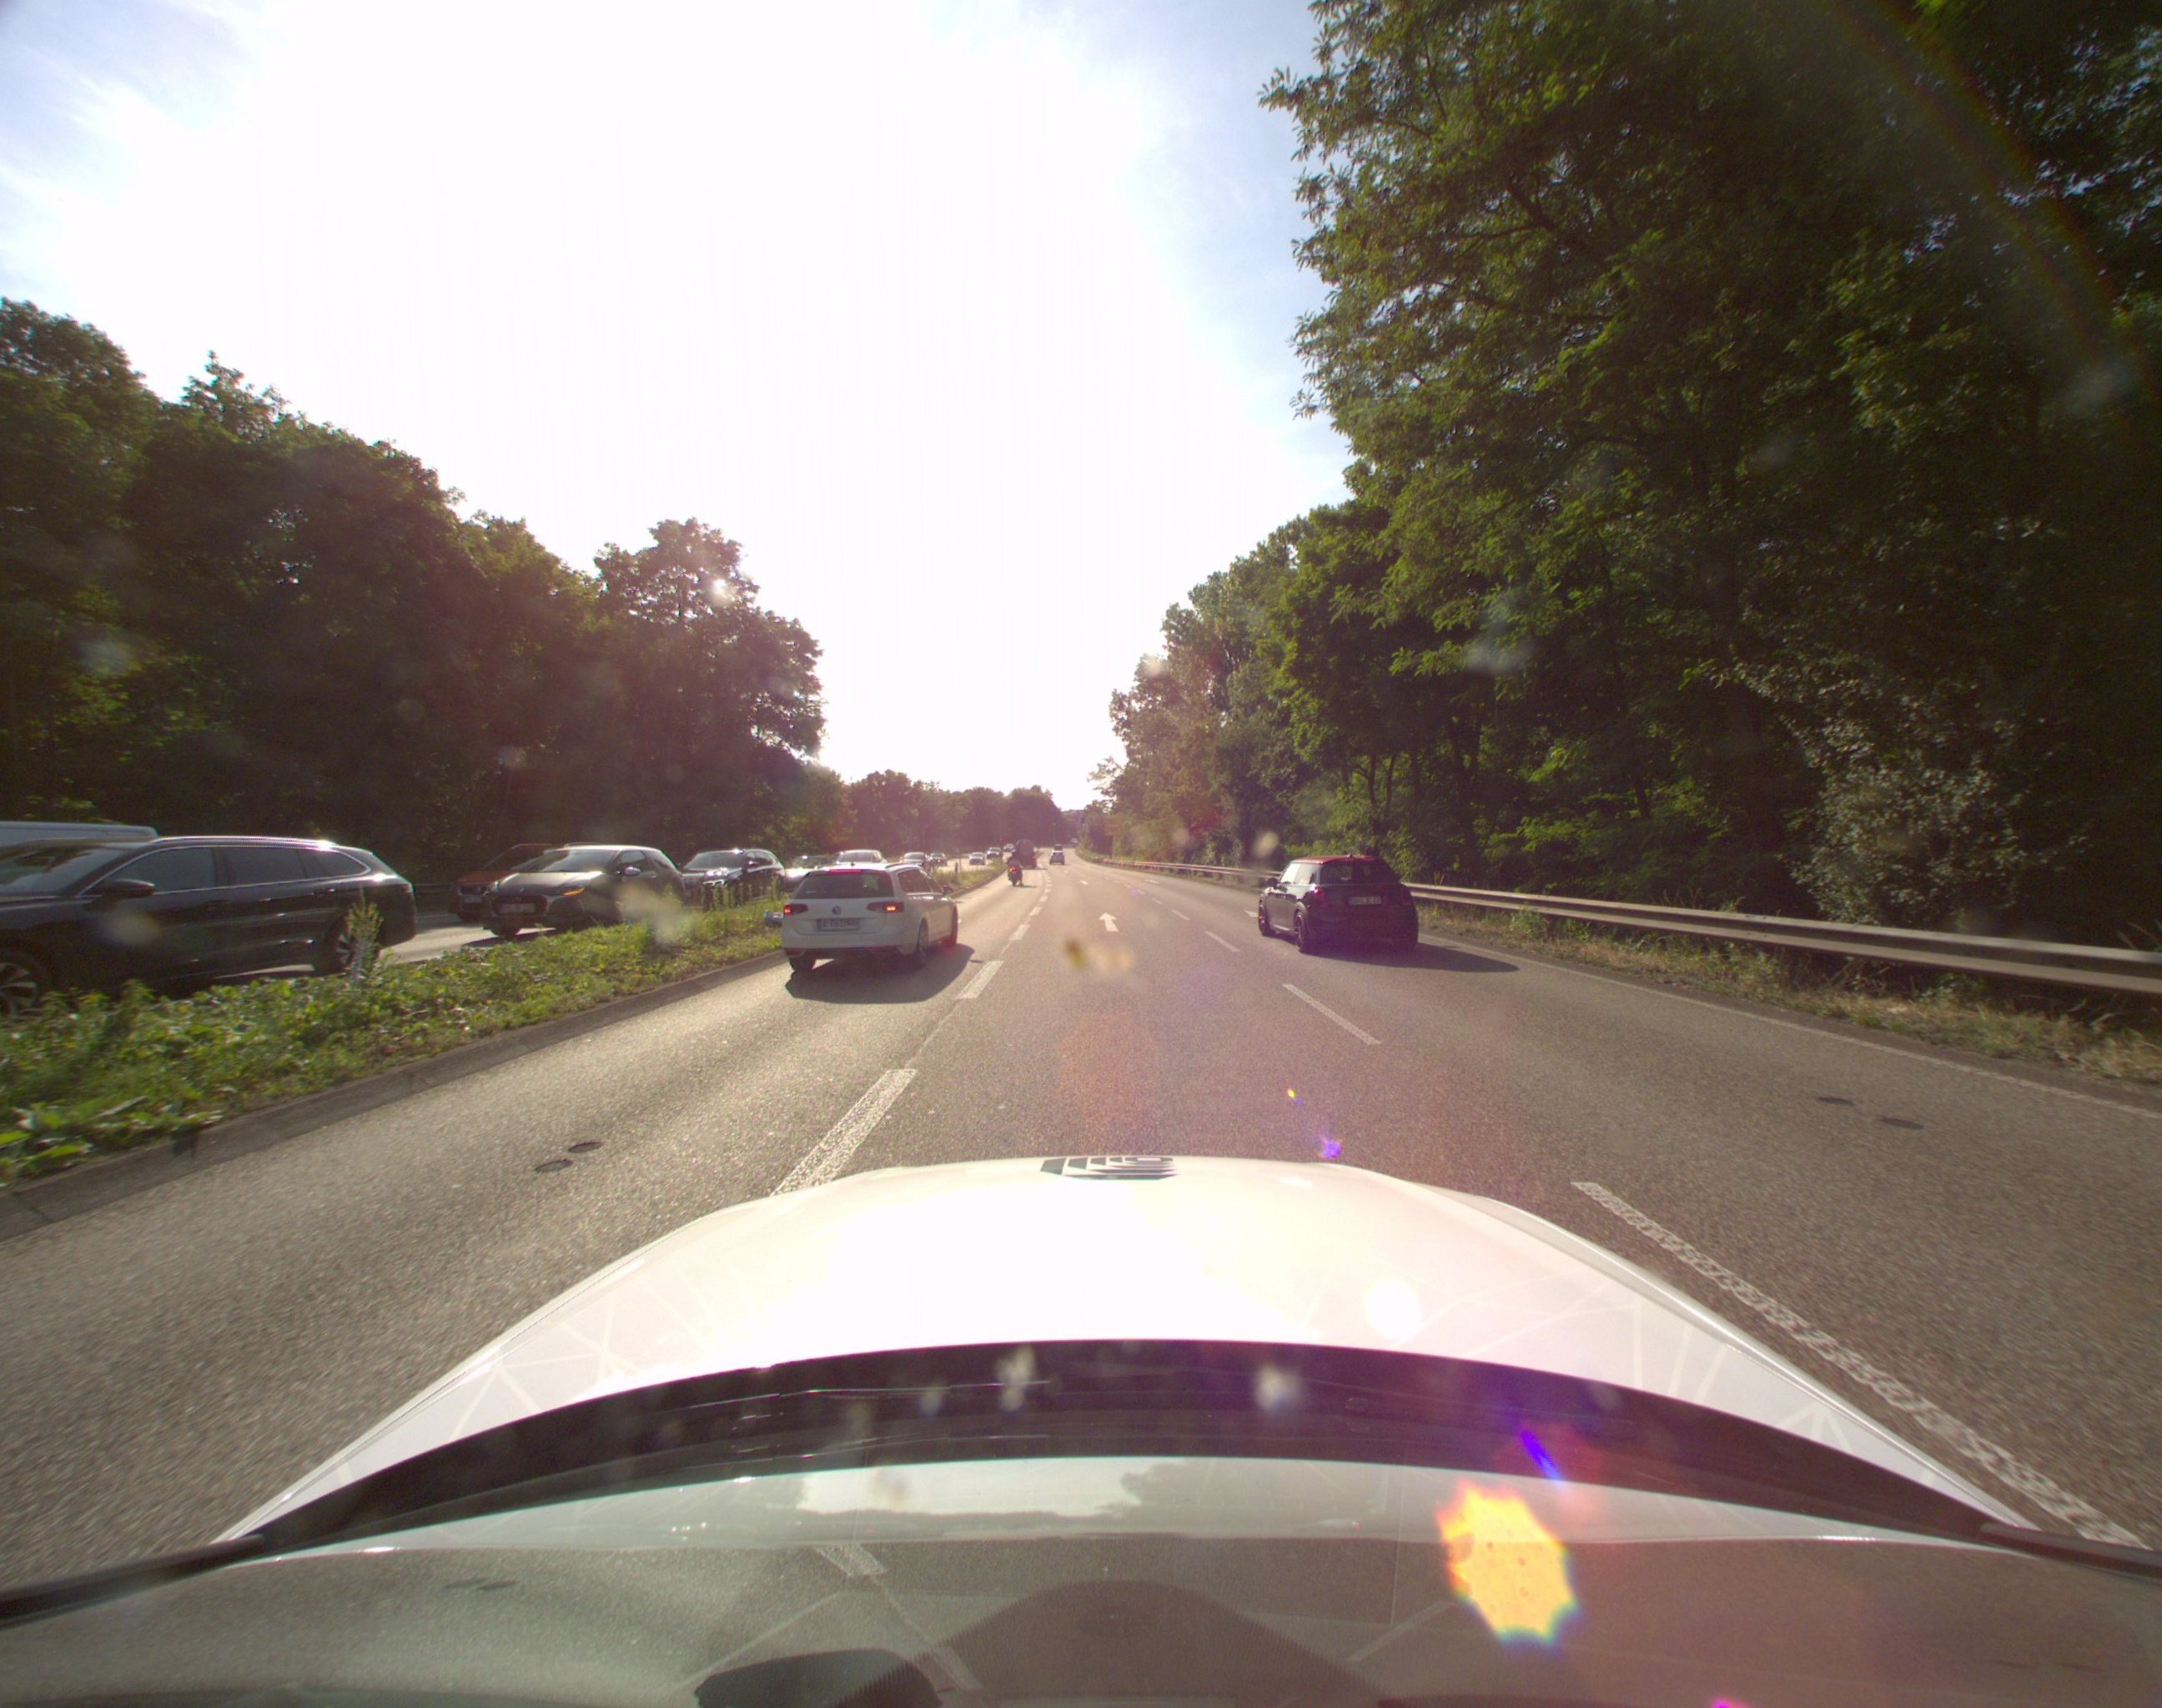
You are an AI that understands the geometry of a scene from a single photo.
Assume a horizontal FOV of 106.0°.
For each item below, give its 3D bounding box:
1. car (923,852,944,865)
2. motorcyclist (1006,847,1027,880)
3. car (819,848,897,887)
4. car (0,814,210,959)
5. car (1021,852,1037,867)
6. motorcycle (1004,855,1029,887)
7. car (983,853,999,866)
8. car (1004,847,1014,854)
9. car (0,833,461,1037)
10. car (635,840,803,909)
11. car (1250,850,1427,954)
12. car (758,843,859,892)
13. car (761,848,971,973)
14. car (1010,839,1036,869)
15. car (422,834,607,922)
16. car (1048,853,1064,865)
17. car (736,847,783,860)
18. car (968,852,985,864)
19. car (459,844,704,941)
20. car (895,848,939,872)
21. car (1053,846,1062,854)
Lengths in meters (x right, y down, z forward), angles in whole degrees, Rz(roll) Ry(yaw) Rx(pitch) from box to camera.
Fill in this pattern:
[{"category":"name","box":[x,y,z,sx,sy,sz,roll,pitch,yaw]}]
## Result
[{"category":"car","box":[-16.809,0.467,92.920,1.784,1.406,4.749,0,0,-3]},{"category":"motorcyclist","box":[-3.210,0.455,40.564,0.880,1.616,1.291,1,0,1]},{"category":"car","box":[-8.790,0.477,32.493,1.862,1.417,4.414,-1,0,0]},{"category":"car","box":[-15.507,0.493,10.953,2.005,1.935,5.101,-3,0,0]},{"category":"car","box":[-5.759,0.589,90.560,1.642,1.489,4.100,-1,0,-3]},{"category":"motorcycle","box":[-3.192,0.801,40.631,0.905,1.453,2.690,-3,1,2]},{"category":"car","box":[-13.650,0.812,123.751,2.071,1.763,4.751,-2,1,-3]},{"category":"car","box":[-15.101,-0.725,170.916,1.881,1.503,4.257,-2,1,-5]},{"category":"car","box":[-8.444,0.567,7.315,1.766,1.423,5.191,-1,0,0]},{"category":"car","box":[-8.619,0.414,19.979,1.761,1.423,5.192,-1,0,0]},{"category":"car","box":[4.056,0.673,13.498,1.813,1.467,3.874,0,0,2]},{"category":"car","box":[-8.633,0.376,26.226,1.761,1.417,4.433,-1,0,0]},{"category":"car","box":[-2.994,0.684,12.530,1.863,1.521,4.835,0,0,1]},{"category":"car","box":[-5.864,0.002,83.188,2.203,2.888,7.009,-1,0,-1]},{"category":"car","box":[-12.584,0.475,18.393,1.620,1.706,3.573,-3,0,-1]},{"category":"car","box":[-3.080,0.571,101.377,1.755,1.380,3.972,1,0,0]},{"category":"car","box":[-41.236,-0.028,104.490,5.030,1.490,2.451,1,0,5]},{"category":"car","box":[-12.744,0.474,99.560,1.784,1.411,4.222,1,0,-3]},{"category":"car","box":[-8.460,0.561,14.314,1.701,1.423,4.210,-1,0,0]},{"category":"car","box":[-12.532,0.437,62.637,2.096,1.708,6.224,-1,0,0]},{"category":"car","box":[-5.086,-0.891,174.516,1.741,1.537,3.920,1,0,-5]}]
